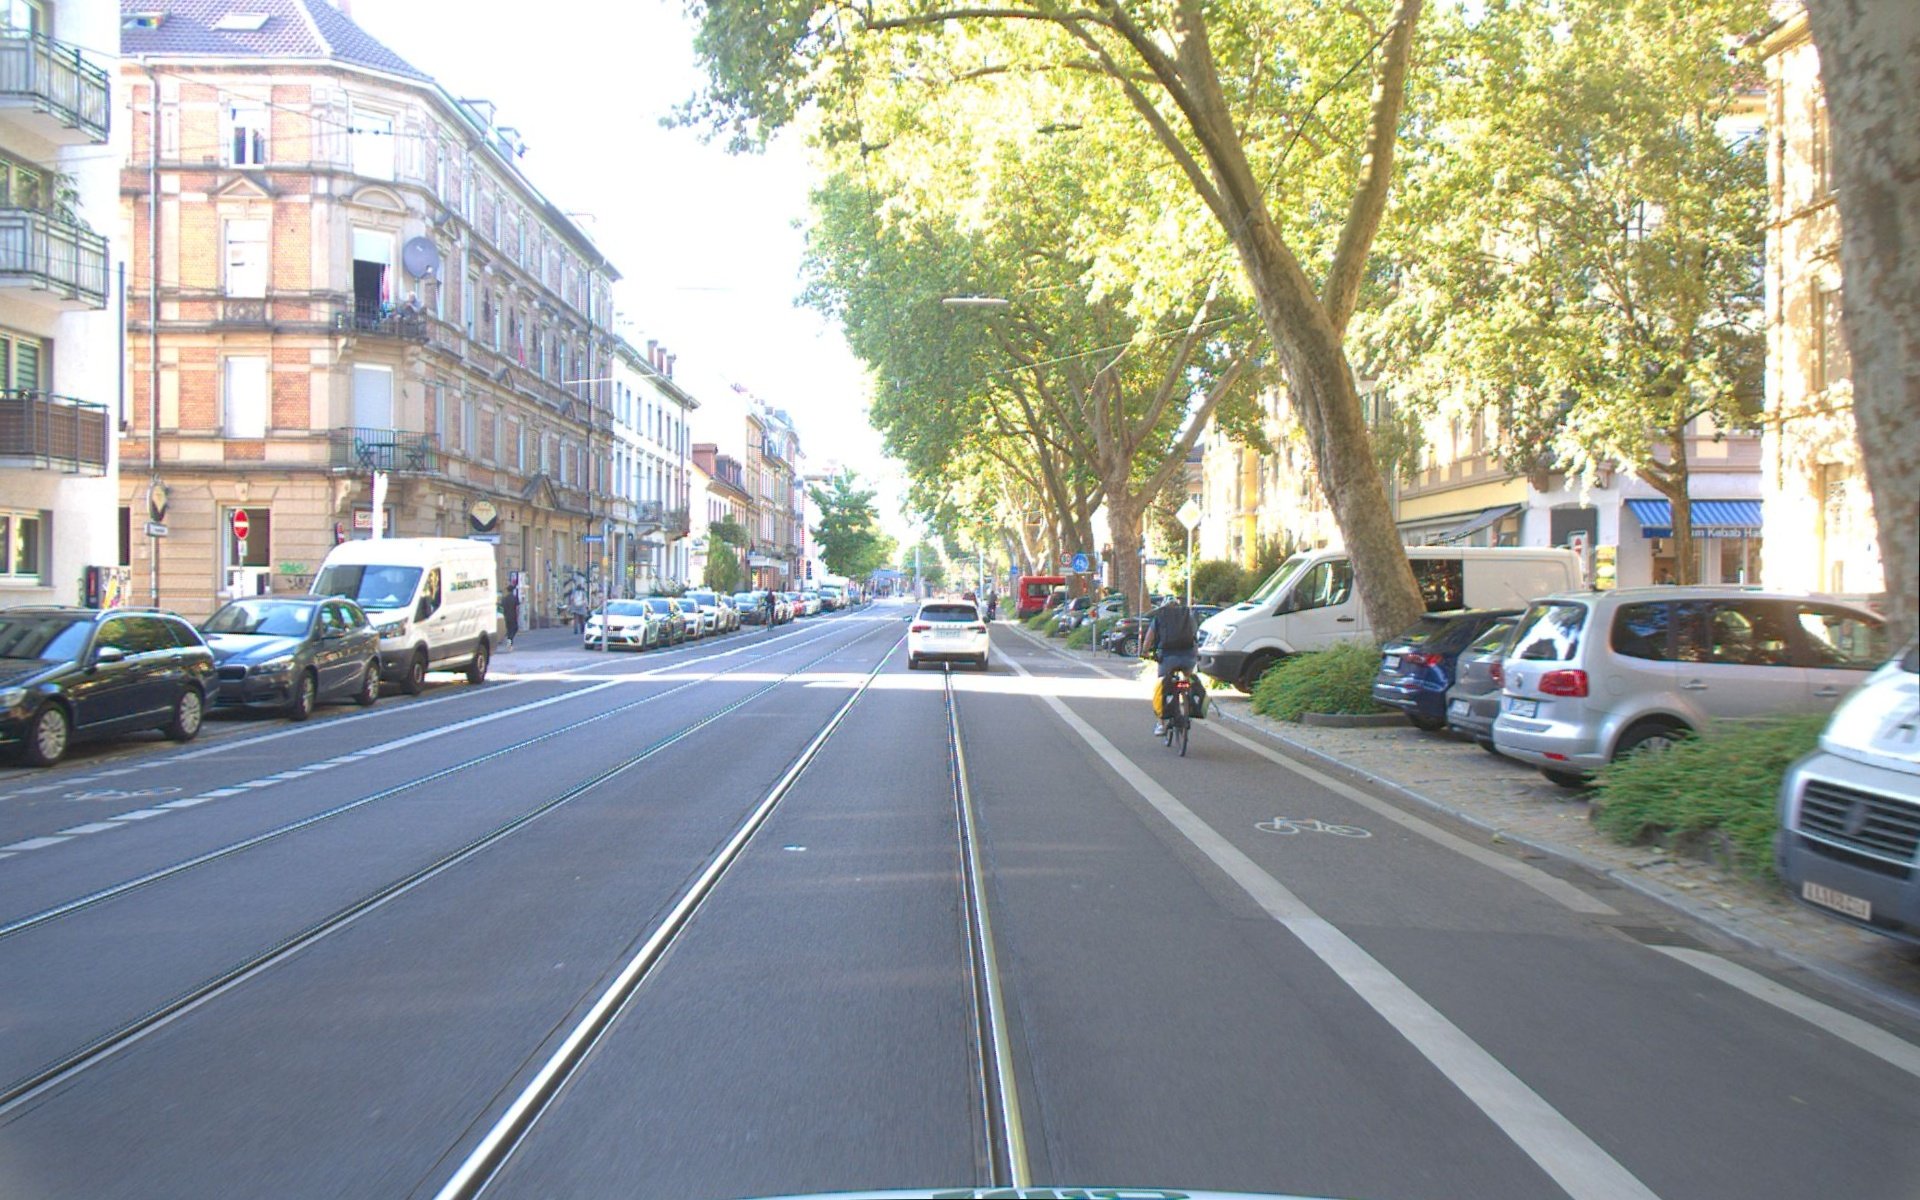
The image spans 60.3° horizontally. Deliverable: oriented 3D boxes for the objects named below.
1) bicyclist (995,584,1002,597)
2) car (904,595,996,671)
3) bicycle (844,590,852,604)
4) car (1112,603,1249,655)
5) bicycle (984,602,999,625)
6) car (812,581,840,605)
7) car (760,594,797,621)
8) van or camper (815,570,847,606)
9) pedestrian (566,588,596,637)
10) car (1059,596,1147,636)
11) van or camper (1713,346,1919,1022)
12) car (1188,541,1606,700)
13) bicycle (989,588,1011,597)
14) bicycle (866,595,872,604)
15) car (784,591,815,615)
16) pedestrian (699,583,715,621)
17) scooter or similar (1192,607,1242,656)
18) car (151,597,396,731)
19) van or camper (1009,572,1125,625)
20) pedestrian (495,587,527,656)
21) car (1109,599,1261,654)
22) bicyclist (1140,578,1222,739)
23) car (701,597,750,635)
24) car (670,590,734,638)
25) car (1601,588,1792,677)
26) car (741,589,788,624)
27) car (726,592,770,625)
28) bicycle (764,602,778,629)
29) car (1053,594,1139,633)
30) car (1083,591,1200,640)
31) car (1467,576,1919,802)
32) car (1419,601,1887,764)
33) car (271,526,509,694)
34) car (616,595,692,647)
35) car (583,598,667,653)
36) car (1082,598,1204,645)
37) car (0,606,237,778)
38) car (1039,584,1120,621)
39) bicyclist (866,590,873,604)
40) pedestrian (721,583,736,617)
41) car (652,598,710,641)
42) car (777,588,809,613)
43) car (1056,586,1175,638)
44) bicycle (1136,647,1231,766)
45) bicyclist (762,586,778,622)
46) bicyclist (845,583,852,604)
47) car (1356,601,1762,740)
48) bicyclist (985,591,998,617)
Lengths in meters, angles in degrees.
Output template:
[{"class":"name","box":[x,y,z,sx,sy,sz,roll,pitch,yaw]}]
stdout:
[{"class":"bicyclist","box":[4.753,-1.195,204.326,0.721,1.617,0.587,0,0,12]},{"class":"car","box":[-0.258,0.665,35.434,1.805,1.506,3.836,1,0,-2]},{"class":"bicycle","box":[-8.729,-0.212,129.207,0.471,1.105,1.846,0,0,0]},{"class":"car","box":[6.599,0.846,49.786,4.010,1.517,1.682,0,0,4]},{"class":"bicycle","box":[1.671,0.713,87.438,0.666,1.175,2.964,1,0,0]},{"class":"car","box":[-10.808,-0.568,133.440,1.925,1.812,4.936,3,0,-2]},{"class":"car","box":[-10.465,0.413,95.469,1.652,1.502,4.257,2,0,-1]},{"class":"van or camper","box":[-11.764,-1.103,151.811,2.171,3.195,7.114,1,0,1]},{"class":"pedestrian","box":[-13.317,0.450,58.093,0.650,1.694,0.767,1,0,31]},{"class":"car","box":[5.938,0.663,68.816,3.521,1.627,1.541,0,-1,0]},{"class":"van or camper","box":[6.542,0.301,6.859,5.910,2.534,2.107,0,0,-2]},{"class":"car","box":[6.545,0.280,25.279,5.868,2.322,2.006,0,1,1]},{"class":"bicycle","box":[4.944,-0.890,204.250,2.711,1.017,0.593,2,0,14]},{"class":"bicycle","box":[-10.109,-0.052,183.253,0.488,0.959,1.922,-2,0,1]},{"class":"car","box":[-10.797,0.218,111.548,1.790,1.529,4.686,1,0,-3]},{"class":"pedestrian","box":[-13.783,0.119,90.148,0.744,2.049,0.829,0,0,-3]},{"class":"scooter or similar","box":[6.733,0.829,43.375,1.279,1.278,0.341,0,0,13]},{"class":"car","box":[-9.286,0.789,22.778,1.684,1.660,4.345,0,0,-2]},{"class":"van or camper","box":[5.511,-0.100,85.584,5.699,2.563,2.287,-2,1,-3]},{"class":"pedestrian","box":[-12.223,0.579,45.032,0.671,1.832,1.055,1,0,-9]},{"class":"car","box":[6.362,0.751,47.041,4.014,1.517,1.830,0,0,-3]},{"class":"bicyclist","box":[2.292,0.588,17.226,0.602,1.579,0.935,5,0,-1]},{"class":"car","box":[-9.905,0.656,70.168,1.629,1.547,4.062,1,0,-3]},{"class":"car","box":[-10.019,0.529,64.630,1.750,1.753,4.718,1,0,0]},{"class":"car","box":[13.349,0.551,30.204,1.698,1.481,3.568,1,0,-4]},{"class":"car","box":[-10.024,0.328,85.030,1.818,1.733,4.763,0,0,0]},{"class":"car","box":[-10.178,0.392,79.665,1.521,1.542,3.925,0,0,2]},{"class":"bicycle","box":[-8.181,0.669,71.674,0.412,1.170,2.231,-1,0,-1]},{"class":"car","box":[5.855,0.567,71.313,3.522,1.544,1.693,-1,0,-1]},{"class":"car","box":[6.452,0.543,58.991,3.947,1.672,1.680,-1,0,-3]},{"class":"car","box":[6.348,0.671,13.444,3.876,1.684,1.795,0,-1,-4]},{"class":"car","box":[6.725,0.769,16.337,3.874,1.504,1.796,0,0,-1]},{"class":"car","box":[-9.547,0.140,28.312,2.022,2.580,5.667,0,0,1]},{"class":"car","box":[-9.969,0.665,54.169,1.705,1.589,4.785,1,0,-2]},{"class":"car","box":[-9.826,0.724,48.764,1.705,1.518,4.044,1,0,-2]},{"class":"car","box":[6.208,0.729,56.381,3.946,1.506,1.681,-1,0,-2]},{"class":"car","box":[-9.286,0.826,16.936,1.683,1.482,4.572,0,0,1]},{"class":"car","box":[5.841,0.131,80.992,3.742,1.678,1.766,-2,-1,-3]},{"class":"bicyclist","box":[-10.042,-0.286,183.035,0.625,1.529,1.070,-1,0,1]},{"class":"pedestrian","box":[-12.608,-0.023,90.179,0.744,1.853,0.829,0,0,-3]},{"class":"car","box":[-9.972,0.686,59.411,1.666,1.445,3.996,1,0,-5]},{"class":"car","box":[-10.680,0.020,106.022,1.536,1.590,3.450,0,0,3]},{"class":"car","box":[5.786,0.450,62.015,4.177,1.749,1.848,-2,0,-3]},{"class":"bicycle","box":[2.272,1.053,17.095,0.583,1.022,2.511,3,0,0]},{"class":"bicyclist","box":[-8.230,0.168,71.693,0.570,1.508,0.807,-1,0,-1]},{"class":"bicyclist","box":[-8.725,-0.531,129.300,0.463,1.664,0.800,0,0,0]},{"class":"car","box":[6.727,0.760,18.839,3.972,1.485,1.795,0,0,-3]},{"class":"bicyclist","box":[1.671,0.225,87.303,0.665,1.362,0.525,1,0,-1]}]
